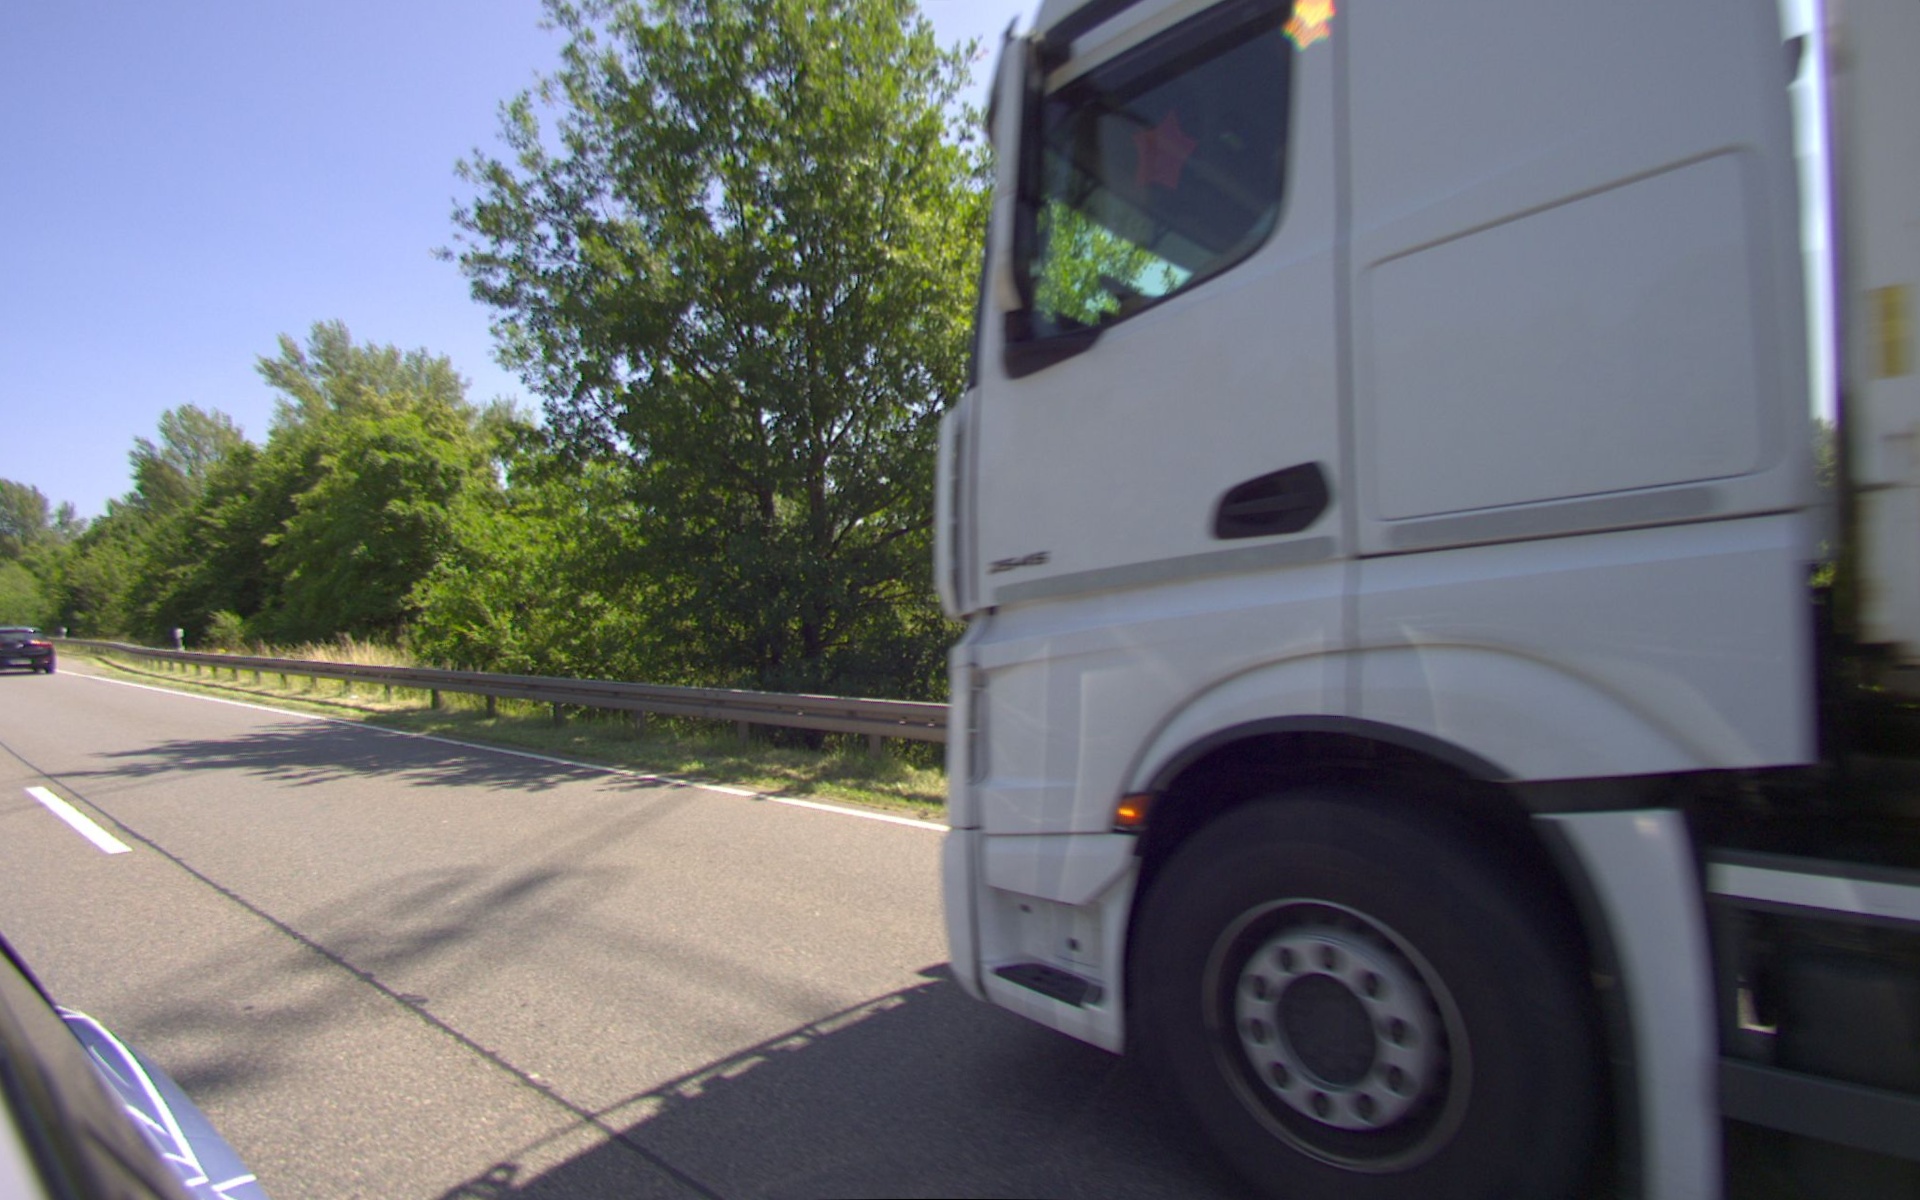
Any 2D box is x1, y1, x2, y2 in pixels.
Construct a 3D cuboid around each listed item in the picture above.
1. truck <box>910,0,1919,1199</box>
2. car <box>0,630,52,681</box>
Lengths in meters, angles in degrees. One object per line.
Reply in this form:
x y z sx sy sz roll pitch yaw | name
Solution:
4.381 -0.681 0.936 9.658 4.073 2.714 -2 -2 41 | truck
-29.390 1.692 31.130 3.999 1.465 1.782 -2 -1 42 | car
